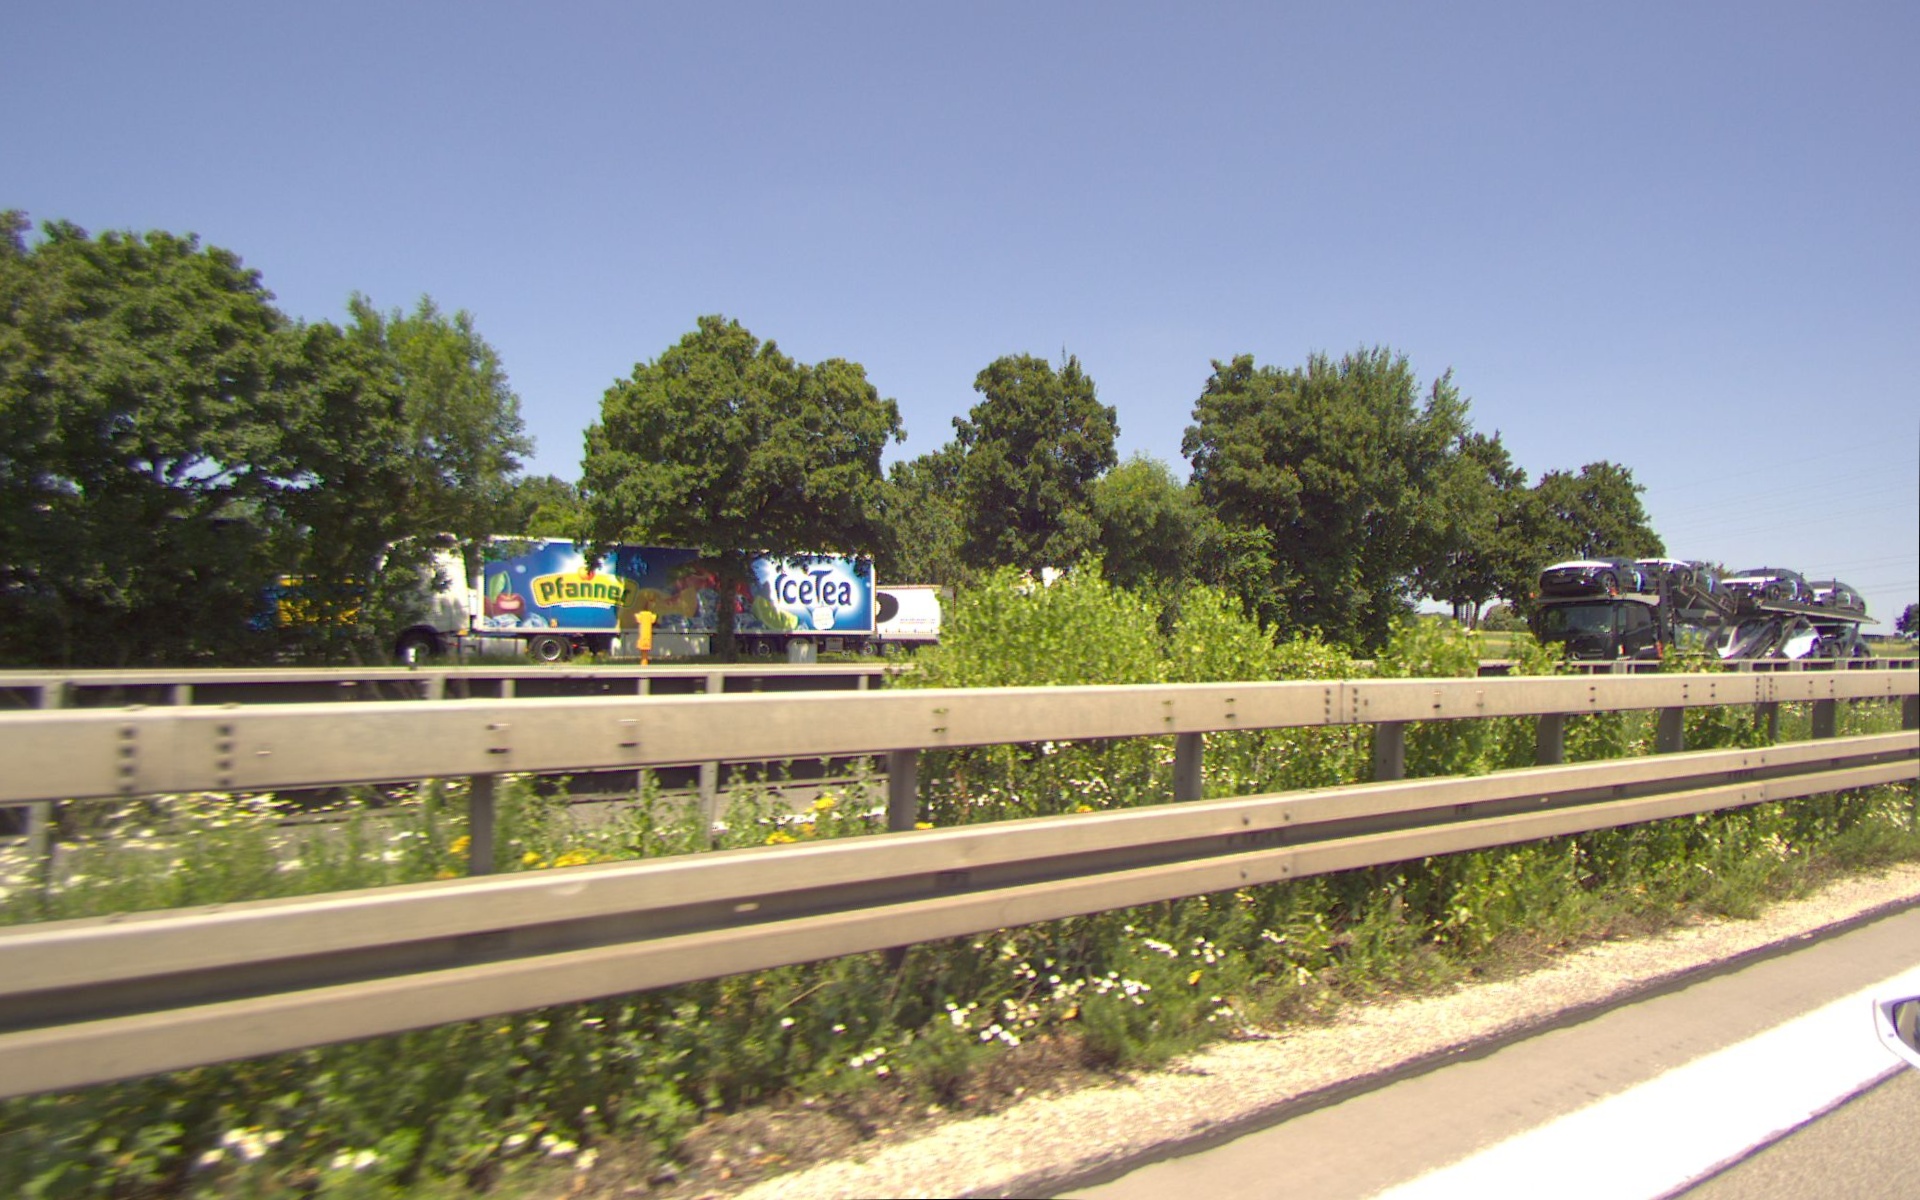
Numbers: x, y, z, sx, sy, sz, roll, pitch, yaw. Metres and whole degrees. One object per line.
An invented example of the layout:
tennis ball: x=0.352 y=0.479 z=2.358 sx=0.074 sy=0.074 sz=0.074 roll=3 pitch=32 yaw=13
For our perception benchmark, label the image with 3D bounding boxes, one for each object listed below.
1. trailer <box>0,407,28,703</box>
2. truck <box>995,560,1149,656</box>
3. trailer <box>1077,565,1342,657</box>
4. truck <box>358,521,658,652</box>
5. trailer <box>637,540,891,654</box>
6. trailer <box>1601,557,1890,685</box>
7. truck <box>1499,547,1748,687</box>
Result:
trailer: x=-18.213 y=-0.783 z=8.773 sx=14.363 sy=3.784 sz=2.828 roll=2 pitch=0 yaw=-31
truck: x=4.833 y=0.391 z=43.202 sx=6.027 sy=3.833 sz=2.783 roll=2 pitch=0 yaw=-30
trailer: x=12.105 y=0.658 z=47.477 sx=14.243 sy=3.829 sz=2.754 roll=2 pitch=0 yaw=-30
truck: x=-14.109 y=-0.288 z=31.708 sx=8.304 sy=3.682 sz=2.540 roll=2 pitch=0 yaw=-32
trailer: x=-6.922 y=-0.001 z=36.245 sx=8.617 sy=3.710 sz=2.531 roll=2 pitch=0 yaw=-32
trailer: x=28.138 y=0.877 z=35.500 sx=15.003 sy=3.898 sz=2.672 roll=2 pitch=0 yaw=-31
truck: x=20.671 y=0.600 z=31.090 sx=9.046 sy=3.870 sz=2.663 roll=2 pitch=0 yaw=-30
